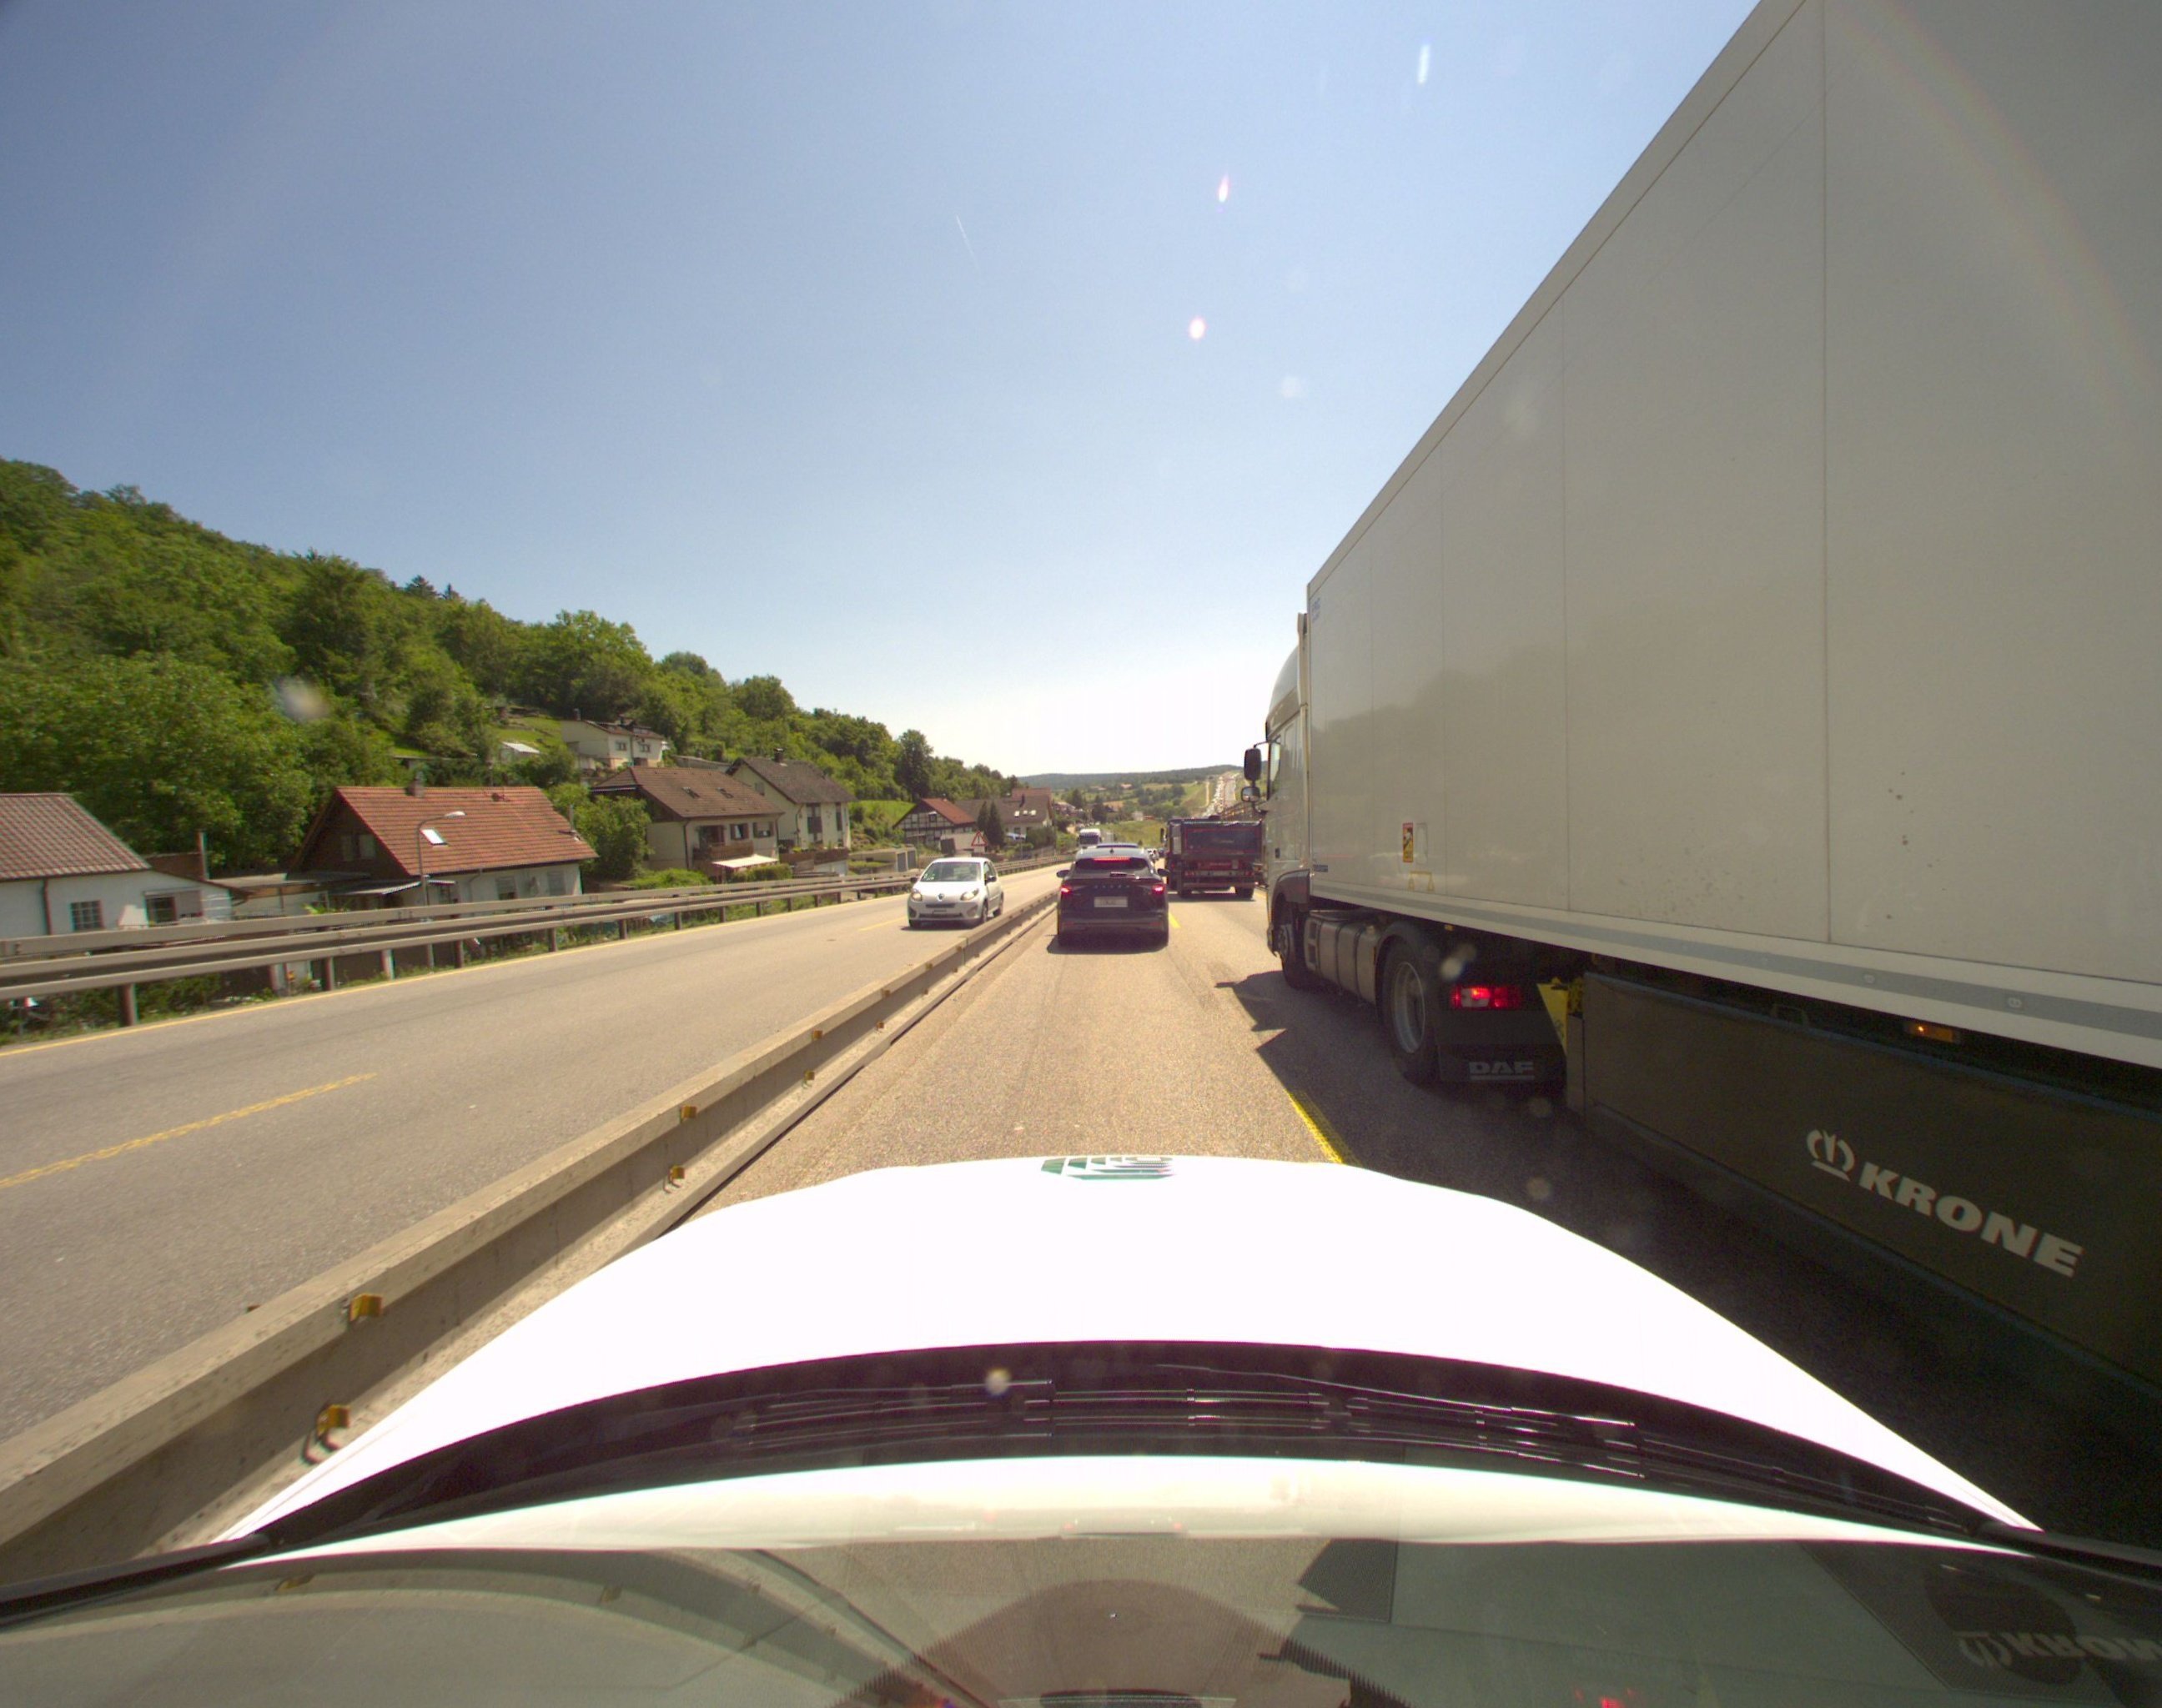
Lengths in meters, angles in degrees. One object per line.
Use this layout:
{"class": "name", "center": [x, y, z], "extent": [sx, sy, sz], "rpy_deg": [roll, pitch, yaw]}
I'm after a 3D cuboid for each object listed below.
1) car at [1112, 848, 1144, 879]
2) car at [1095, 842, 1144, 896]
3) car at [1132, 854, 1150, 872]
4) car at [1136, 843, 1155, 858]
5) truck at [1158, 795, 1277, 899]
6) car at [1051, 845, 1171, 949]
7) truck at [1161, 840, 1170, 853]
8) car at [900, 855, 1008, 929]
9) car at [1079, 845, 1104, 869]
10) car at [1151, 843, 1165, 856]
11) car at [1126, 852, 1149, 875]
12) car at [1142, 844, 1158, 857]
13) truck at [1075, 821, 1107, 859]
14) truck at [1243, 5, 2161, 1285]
{"class": "car", "center": [2.639, 0.497, 46.424], "extent": [1.701, 1.622, 4.001], "rpy_deg": [0, 1, 1]}
{"class": "car", "center": [1.385, 0.491, 30.206], "extent": [1.701, 1.881, 4.001], "rpy_deg": [0, 1, 1]}
{"class": "car", "center": [5.680, 0.804, 76.873], "extent": [1.699, 1.622, 4.006], "rpy_deg": [0, 1, 5]}
{"class": "car", "center": [6.925, -0.331, 87.417], "extent": [1.984, 1.585, 3.842], "rpy_deg": [0, 0, 6]}
{"class": "truck", "center": [4.815, -0.168, 31.515], "extent": [3.181, 3.191, 12.820], "rpy_deg": [0, 0, 4]}
{"class": "car", "center": [0.511, 0.675, 14.419], "extent": [1.836, 1.586, 3.908], "rpy_deg": [0, 0, 1]}
{"class": "truck", "center": [26.515, -2.339, 254.935], "extent": [2.736, 4.283, 4.969], "rpy_deg": [0, 1, 8]}
{"class": "car", "center": [-2.761, 0.778, 18.523], "extent": [1.740, 1.426, 3.711], "rpy_deg": [-1, 1, 2]}
{"class": "car", "center": [0.940, 0.281, 71.842], "extent": [1.985, 2.011, 4.861], "rpy_deg": [-2, -1, 3]}
{"class": "car", "center": [11.010, -0.612, 116.434], "extent": [1.690, 1.728, 3.846], "rpy_deg": [0, -1, 9]}
{"class": "car", "center": [4.301, 0.712, 61.890], "extent": [1.699, 1.622, 4.006], "rpy_deg": [0, 1, 5]}
{"class": "car", "center": [8.569, -0.372, 100.700], "extent": [1.984, 1.585, 3.842], "rpy_deg": [0, 0, 6]}
{"class": "truck", "center": [1.302, -1.591, 98.738], "extent": [3.287, 4.362, 8.313], "rpy_deg": [0, -1, 5]}
{"class": "truck", "center": [3.337, -0.644, 6.670], "extent": [2.504, 4.025, 8.238], "rpy_deg": [0, -1, 1]}
